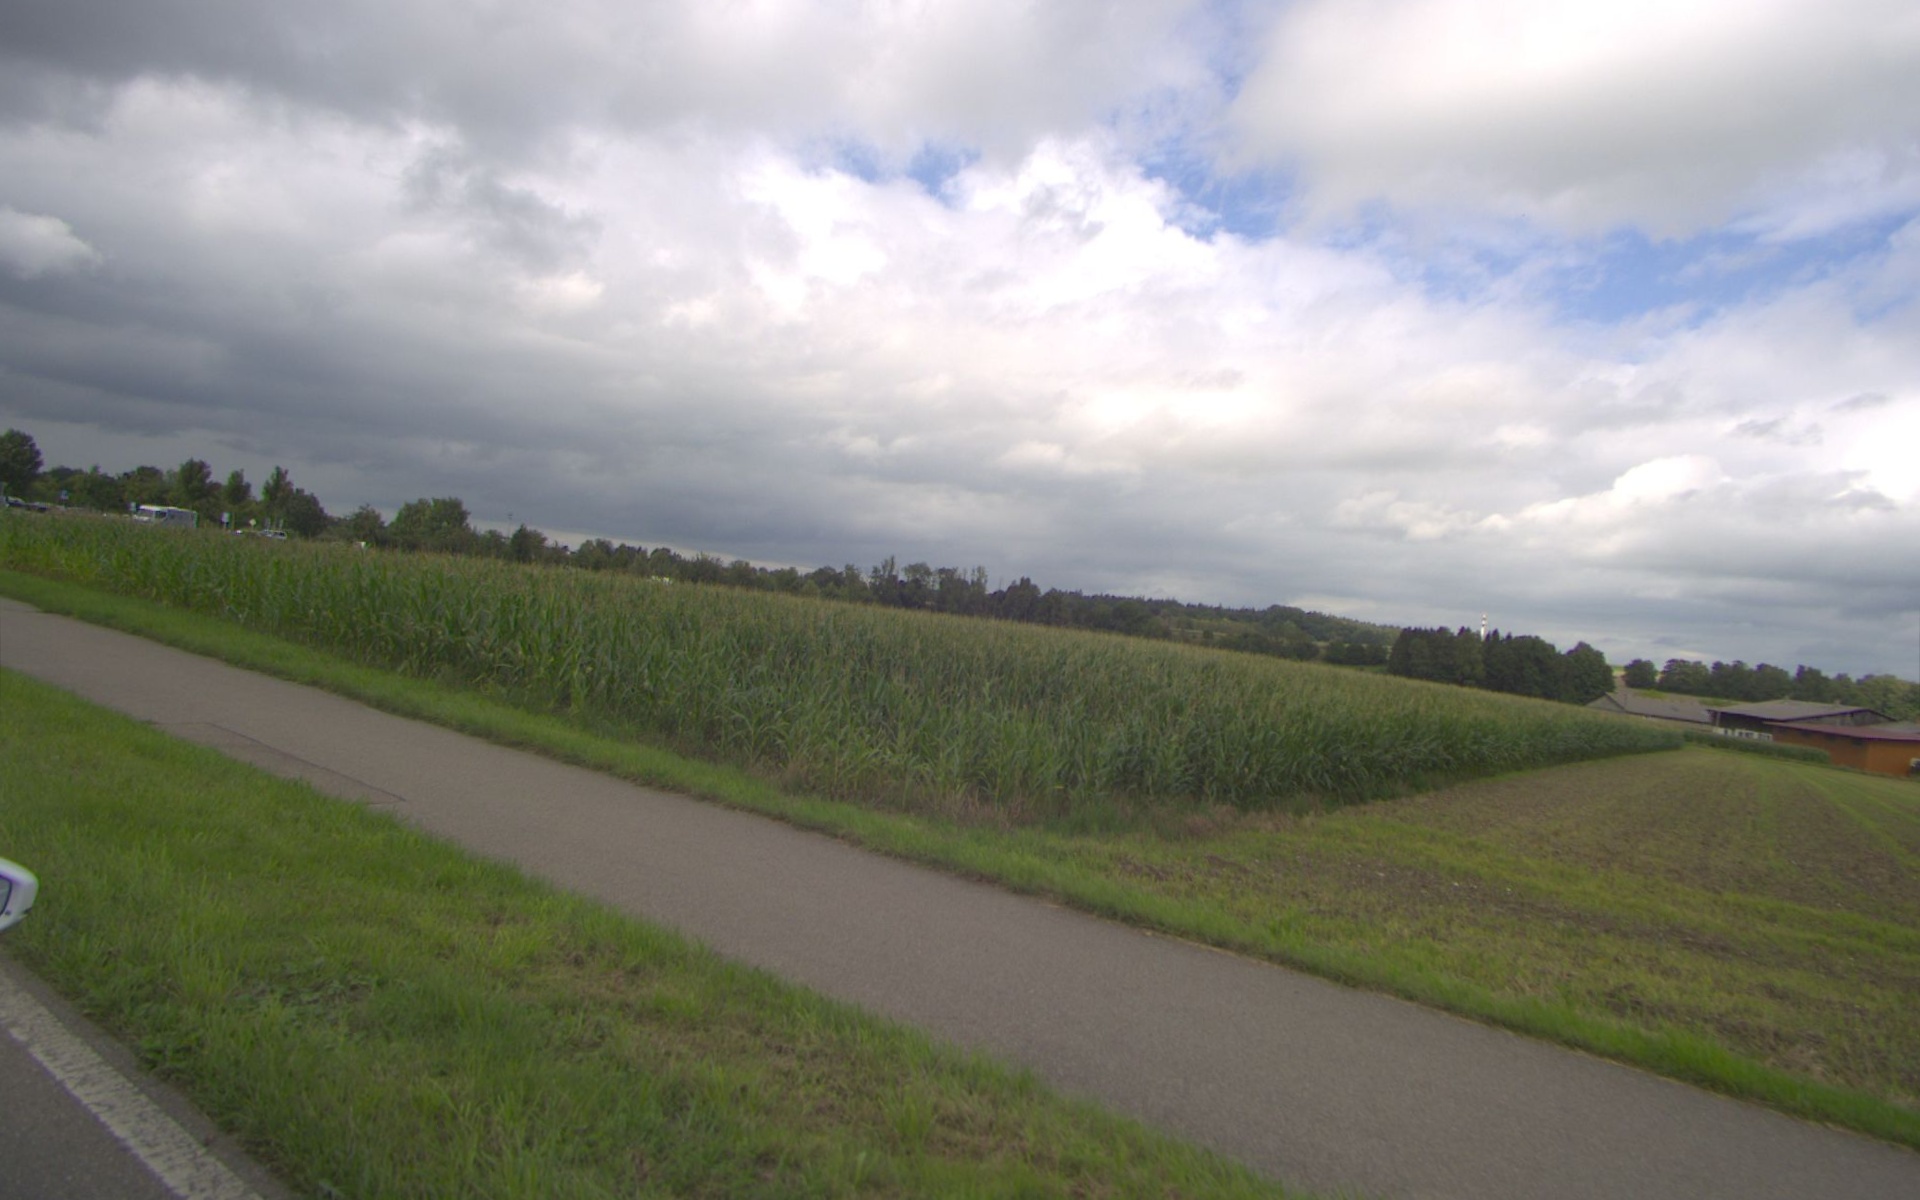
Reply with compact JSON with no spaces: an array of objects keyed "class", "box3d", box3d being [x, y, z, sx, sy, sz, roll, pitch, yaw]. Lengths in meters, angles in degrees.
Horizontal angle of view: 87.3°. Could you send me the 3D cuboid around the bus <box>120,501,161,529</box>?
[{"class":"bus","box3d":[-97.097,-9.990,119.314,2.459,2.743,8.359,8,-1,-32]}]
